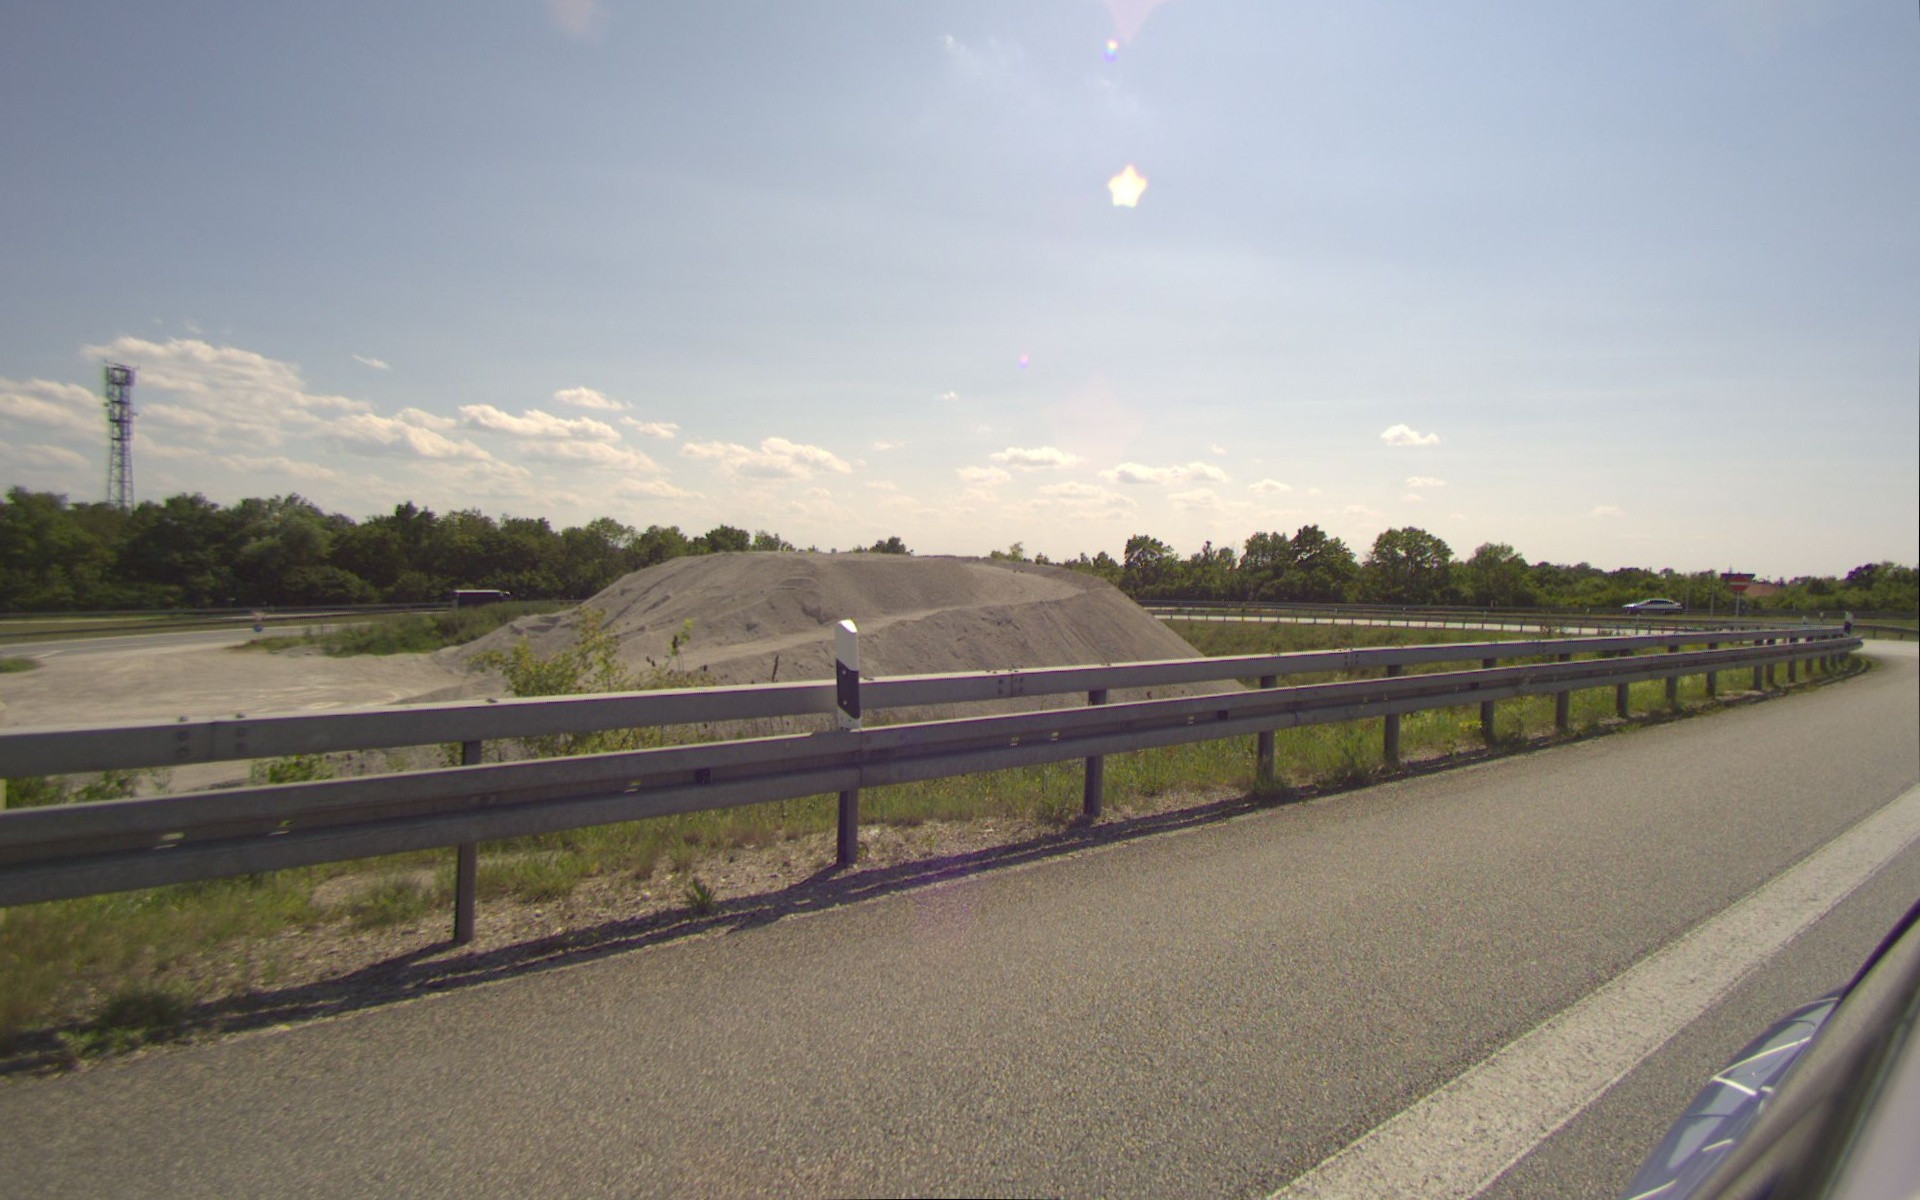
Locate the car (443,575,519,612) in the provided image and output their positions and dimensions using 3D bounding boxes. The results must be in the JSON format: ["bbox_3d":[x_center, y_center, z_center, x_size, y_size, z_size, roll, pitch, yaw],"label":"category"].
[{"bbox_3d":[-50.974,-0.713,107.833,6.956,3.676,1.996,-1,-2,-41],"label":"car"}]

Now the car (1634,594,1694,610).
[{"bbox_3d":[66.123,0.193,95.169,4.249,1.527,1.985,0,0,23],"label":"car"}]
